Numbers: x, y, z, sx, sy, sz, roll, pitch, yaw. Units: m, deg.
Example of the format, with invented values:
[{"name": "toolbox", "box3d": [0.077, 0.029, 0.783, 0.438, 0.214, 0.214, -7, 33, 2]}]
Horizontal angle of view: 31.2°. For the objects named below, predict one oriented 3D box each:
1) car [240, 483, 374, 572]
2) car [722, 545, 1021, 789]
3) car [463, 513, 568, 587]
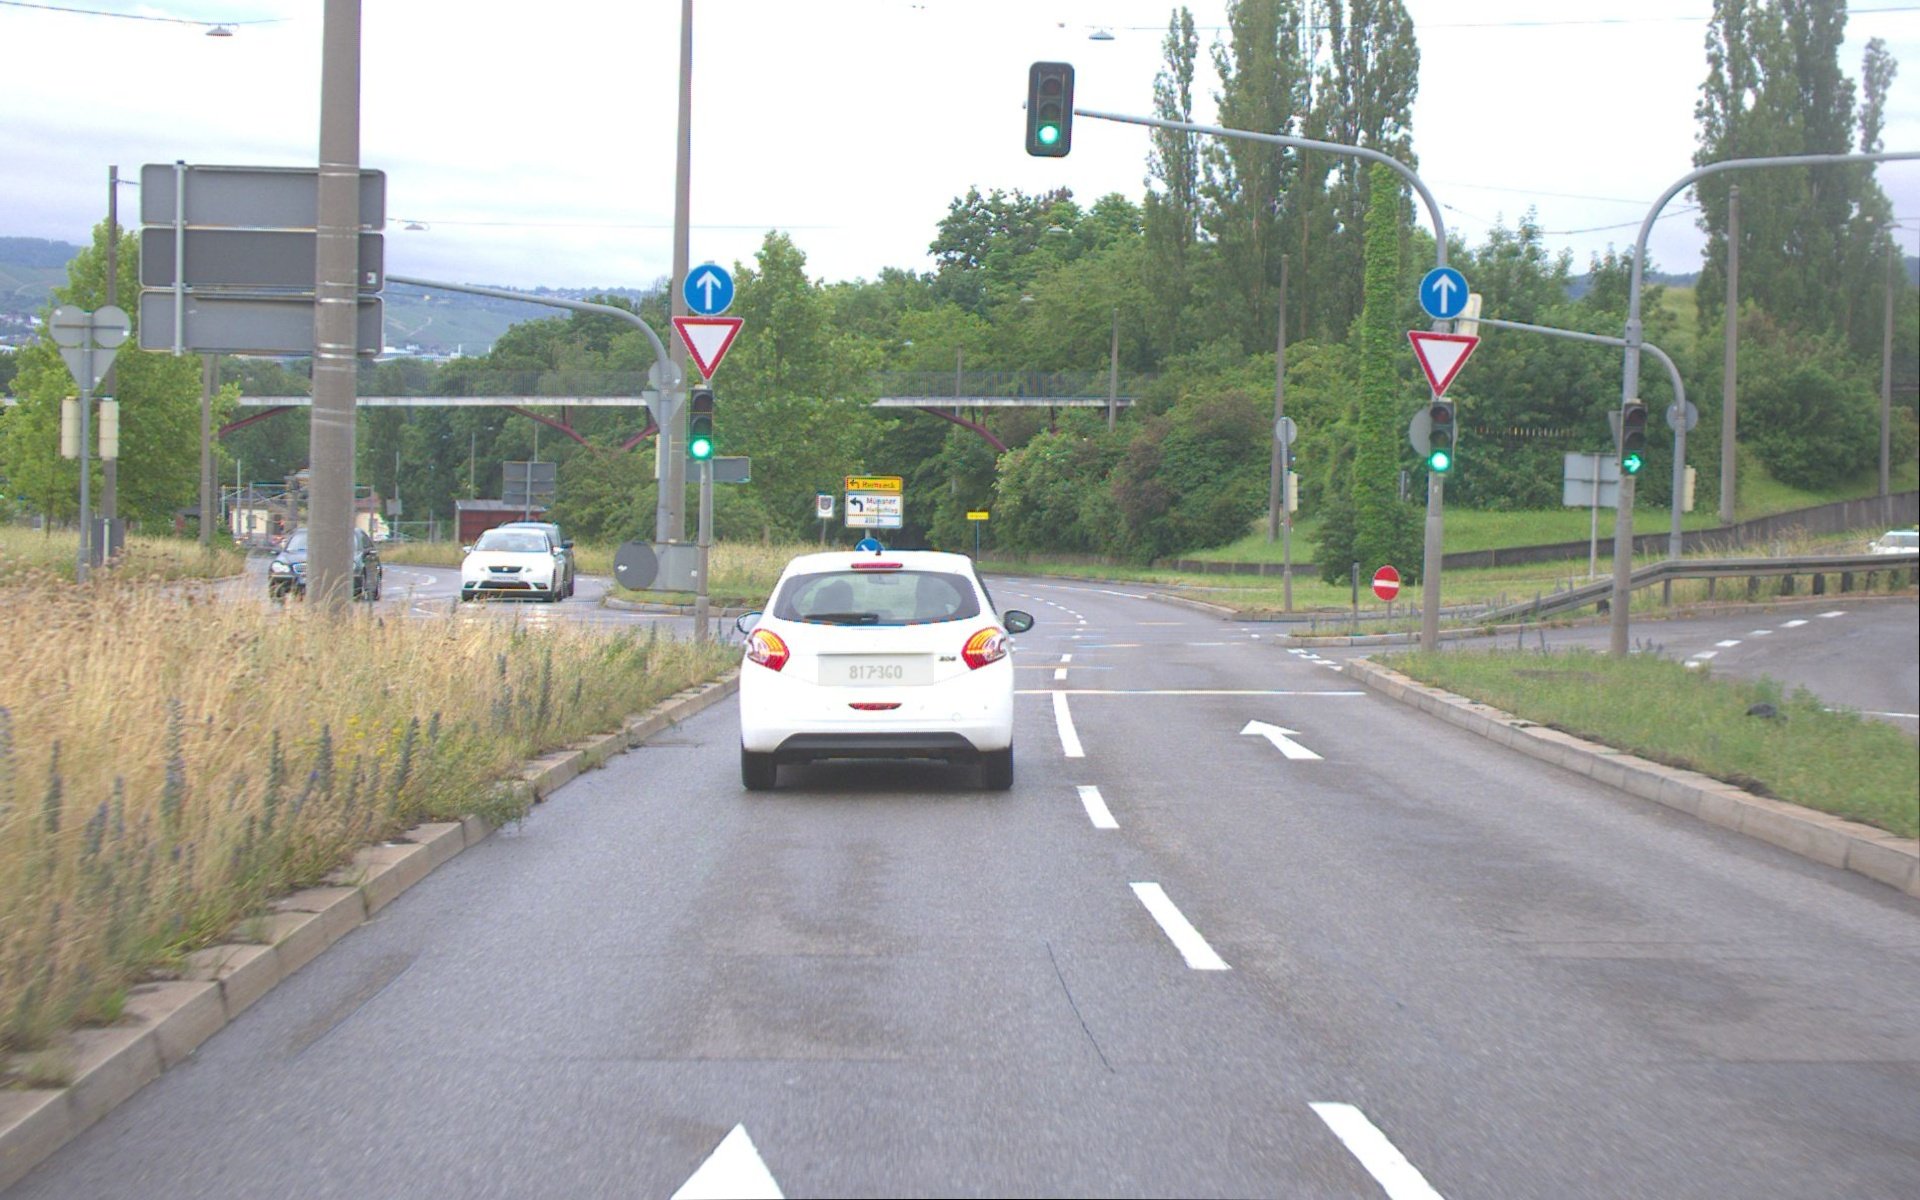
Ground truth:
[{"name": "car", "box3d": [-12.239, -1.333, 64.642, 1.895, 1.532, 4.000, 2, 0, -3]}, {"name": "car", "box3d": [-0.491, 0.383, 22.168, 1.708, 1.435, 3.690, 0, 0, 2]}, {"name": "car", "box3d": [-8.662, -0.959, 67.231, 1.737, 1.368, 4.000, 2, 0, -3]}]
